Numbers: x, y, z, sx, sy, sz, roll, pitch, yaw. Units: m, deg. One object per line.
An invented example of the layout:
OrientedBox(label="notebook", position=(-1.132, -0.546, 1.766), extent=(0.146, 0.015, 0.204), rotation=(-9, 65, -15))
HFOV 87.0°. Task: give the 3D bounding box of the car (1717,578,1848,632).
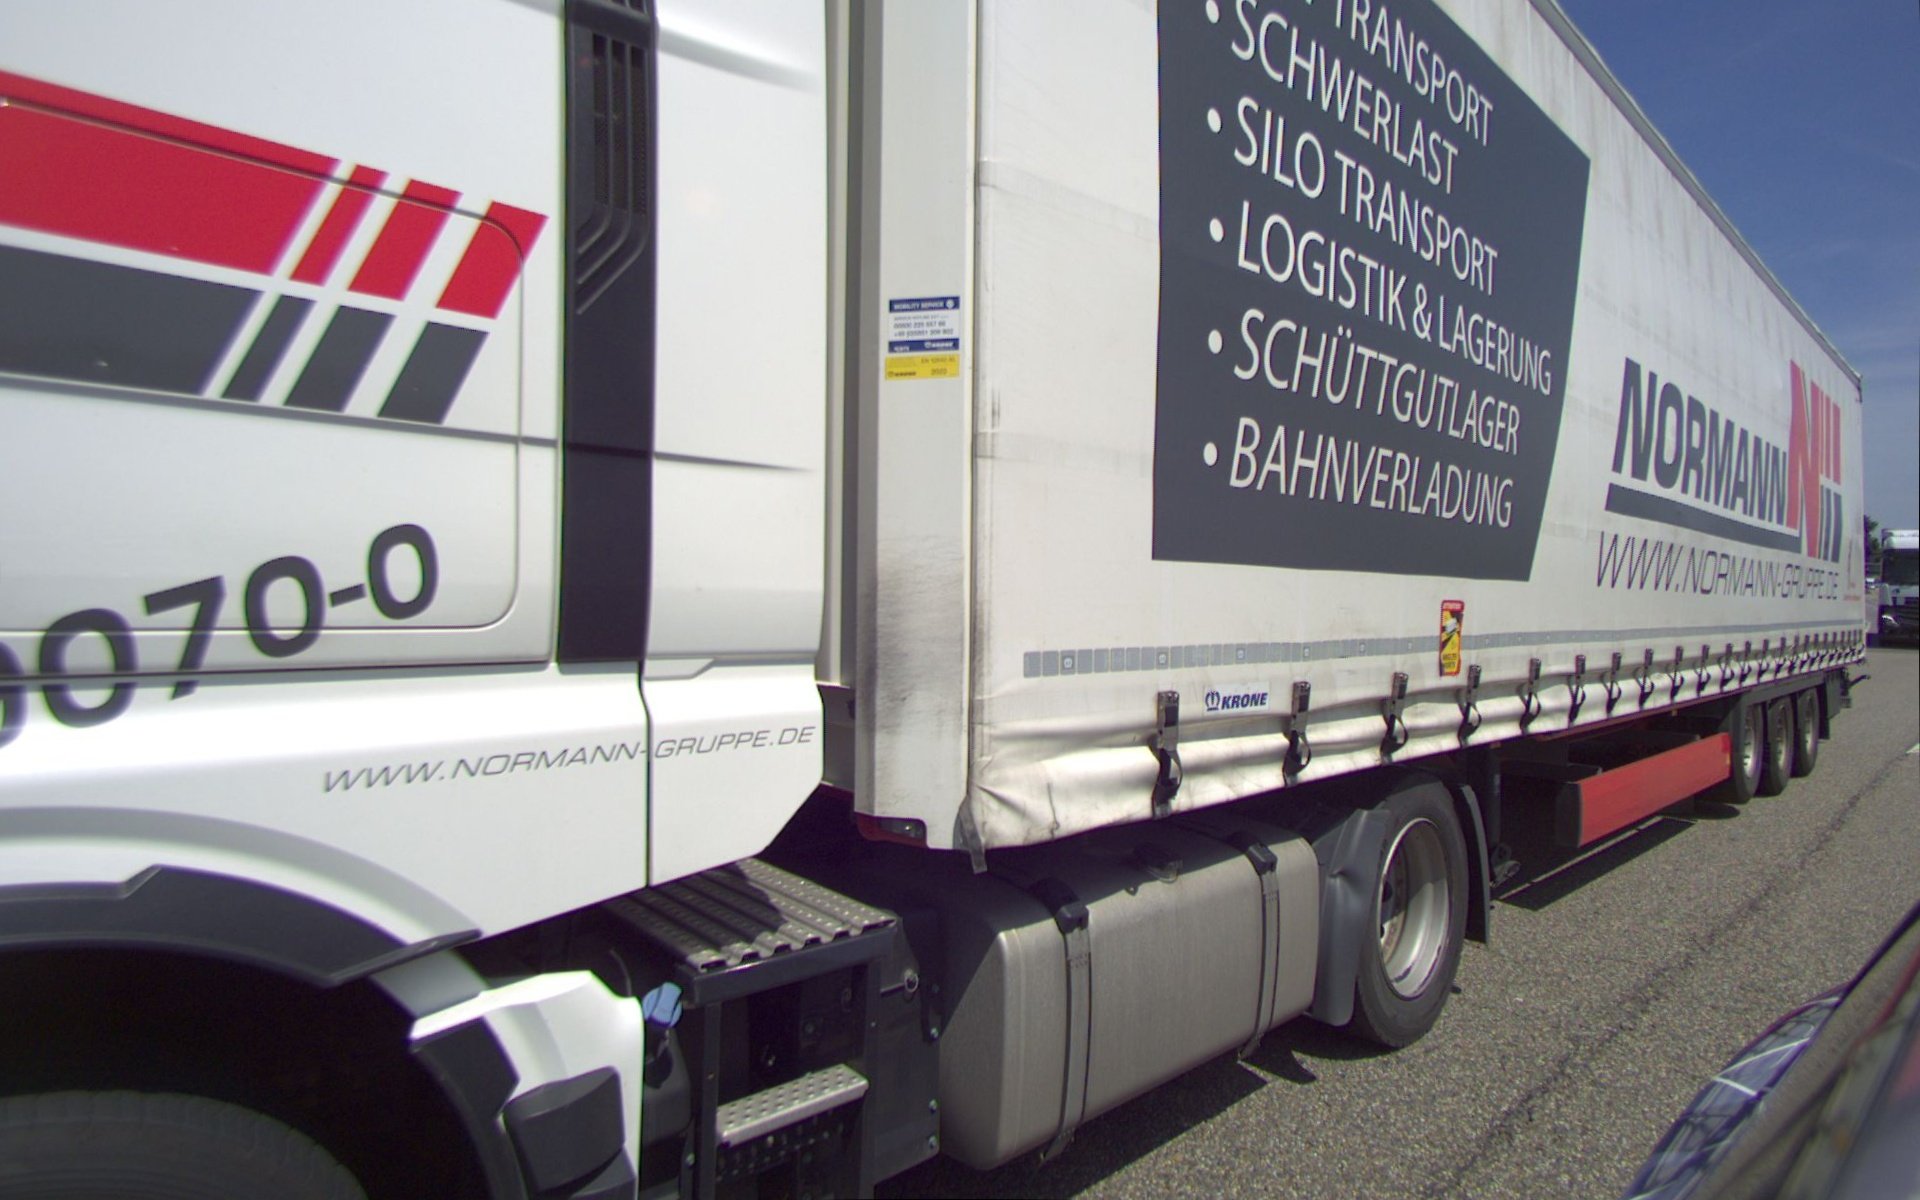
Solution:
OrientedBox(label="car", position=(33.528, 0.157, 41.314), extent=(3.859, 1.711, 1.912), rotation=(9, 6, 44))

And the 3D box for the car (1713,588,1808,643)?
OrientedBox(label="car", position=(26.481, 0.456, 33.453), extent=(1.996, 1.450, 3.938), rotation=(9, 7, 43))

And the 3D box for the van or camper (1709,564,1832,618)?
OrientedBox(label="van or camper", position=(47.458, -0.587, 59.341), extent=(2.196, 2.941, 5.372), rotation=(0, 2, -45))

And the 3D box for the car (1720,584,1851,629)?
OrientedBox(label="car", position=(35.063, 0.241, 43.069), extent=(4.136, 1.438, 1.766), rotation=(8, 6, 41))

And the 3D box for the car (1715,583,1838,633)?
OrientedBox(label="car", position=(31.894, 0.277, 39.578), extent=(3.528, 1.495, 1.805), rotation=(9, 7, 42))

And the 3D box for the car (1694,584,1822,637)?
OrientedBox(label="car", position=(29.758, 0.332, 37.783), extent=(3.528, 1.495, 1.805), rotation=(9, 7, 42))

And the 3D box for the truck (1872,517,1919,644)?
OrientedBox(label="truck", position=(33.443, -0.597, 34.504), extent=(2.970, 4.058, 6.236), rotation=(5, 3, 40))

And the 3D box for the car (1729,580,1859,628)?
OrientedBox(label="car", position=(37.183, 0.134, 45.277), extent=(3.992, 1.694, 2.179), rotation=(6, 5, 30))

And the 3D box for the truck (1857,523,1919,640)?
OrientedBox(label="truck", position=(38.338, -0.688, 40.453), extent=(2.970, 4.058, 13.921), rotation=(5, 3, 39))

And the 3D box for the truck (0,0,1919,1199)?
OrientedBox(label="truck", position=(3.845, -0.769, 7.170), extent=(17.330, 4.146, 2.977), rotation=(-1, -1, -42))

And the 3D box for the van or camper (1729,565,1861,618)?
OrientedBox(label="van or camper", position=(46.713, -0.526, 56.710), extent=(2.196, 2.764, 5.479), rotation=(0, 2, -45))
